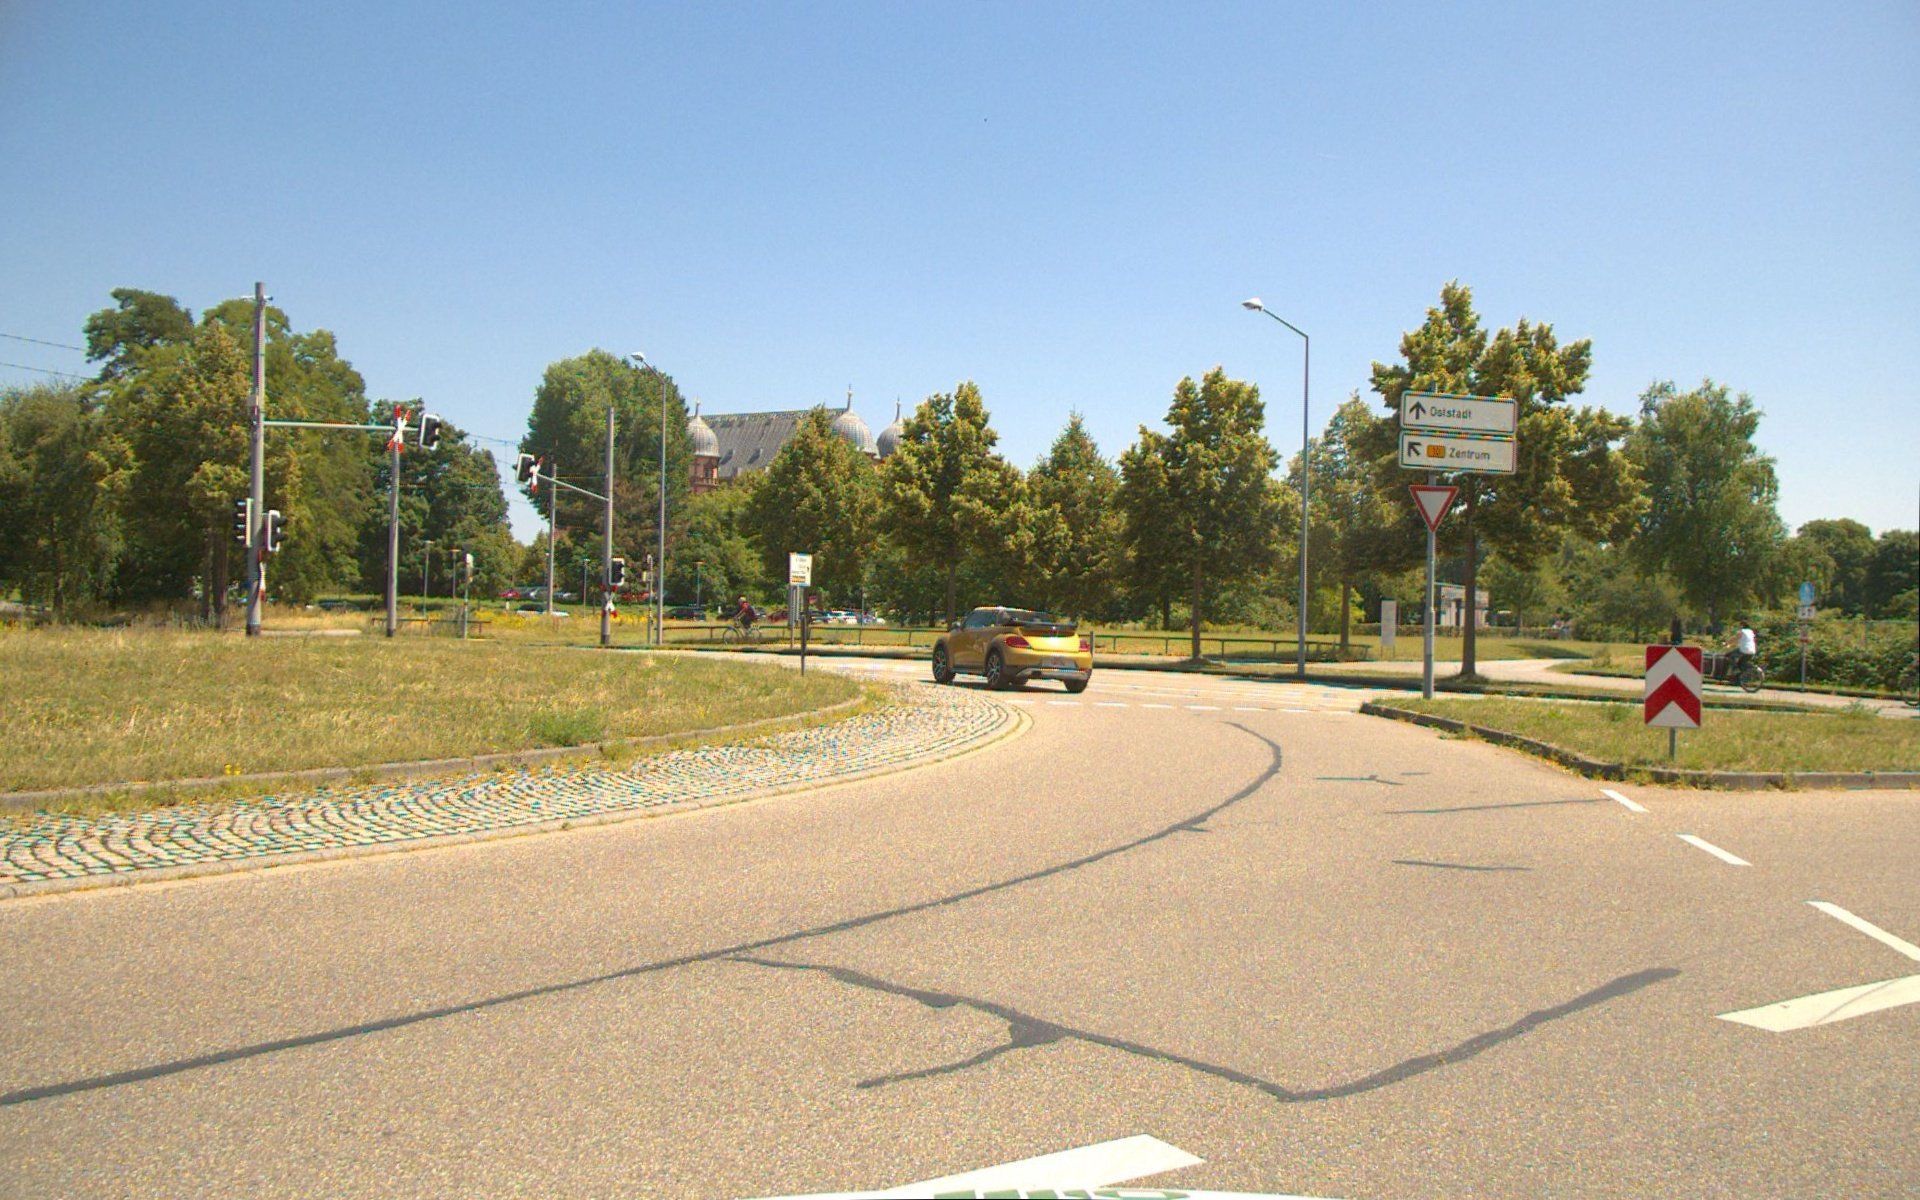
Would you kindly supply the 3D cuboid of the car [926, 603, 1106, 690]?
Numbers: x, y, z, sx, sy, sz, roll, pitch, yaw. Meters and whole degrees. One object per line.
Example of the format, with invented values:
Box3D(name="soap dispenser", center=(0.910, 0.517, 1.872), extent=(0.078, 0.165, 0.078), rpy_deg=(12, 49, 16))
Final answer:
Box3D(name="car", center=(0.951, 0.816, 30.088), extent=(1.802, 1.427, 3.633), rpy_deg=(2, -1, -25))
